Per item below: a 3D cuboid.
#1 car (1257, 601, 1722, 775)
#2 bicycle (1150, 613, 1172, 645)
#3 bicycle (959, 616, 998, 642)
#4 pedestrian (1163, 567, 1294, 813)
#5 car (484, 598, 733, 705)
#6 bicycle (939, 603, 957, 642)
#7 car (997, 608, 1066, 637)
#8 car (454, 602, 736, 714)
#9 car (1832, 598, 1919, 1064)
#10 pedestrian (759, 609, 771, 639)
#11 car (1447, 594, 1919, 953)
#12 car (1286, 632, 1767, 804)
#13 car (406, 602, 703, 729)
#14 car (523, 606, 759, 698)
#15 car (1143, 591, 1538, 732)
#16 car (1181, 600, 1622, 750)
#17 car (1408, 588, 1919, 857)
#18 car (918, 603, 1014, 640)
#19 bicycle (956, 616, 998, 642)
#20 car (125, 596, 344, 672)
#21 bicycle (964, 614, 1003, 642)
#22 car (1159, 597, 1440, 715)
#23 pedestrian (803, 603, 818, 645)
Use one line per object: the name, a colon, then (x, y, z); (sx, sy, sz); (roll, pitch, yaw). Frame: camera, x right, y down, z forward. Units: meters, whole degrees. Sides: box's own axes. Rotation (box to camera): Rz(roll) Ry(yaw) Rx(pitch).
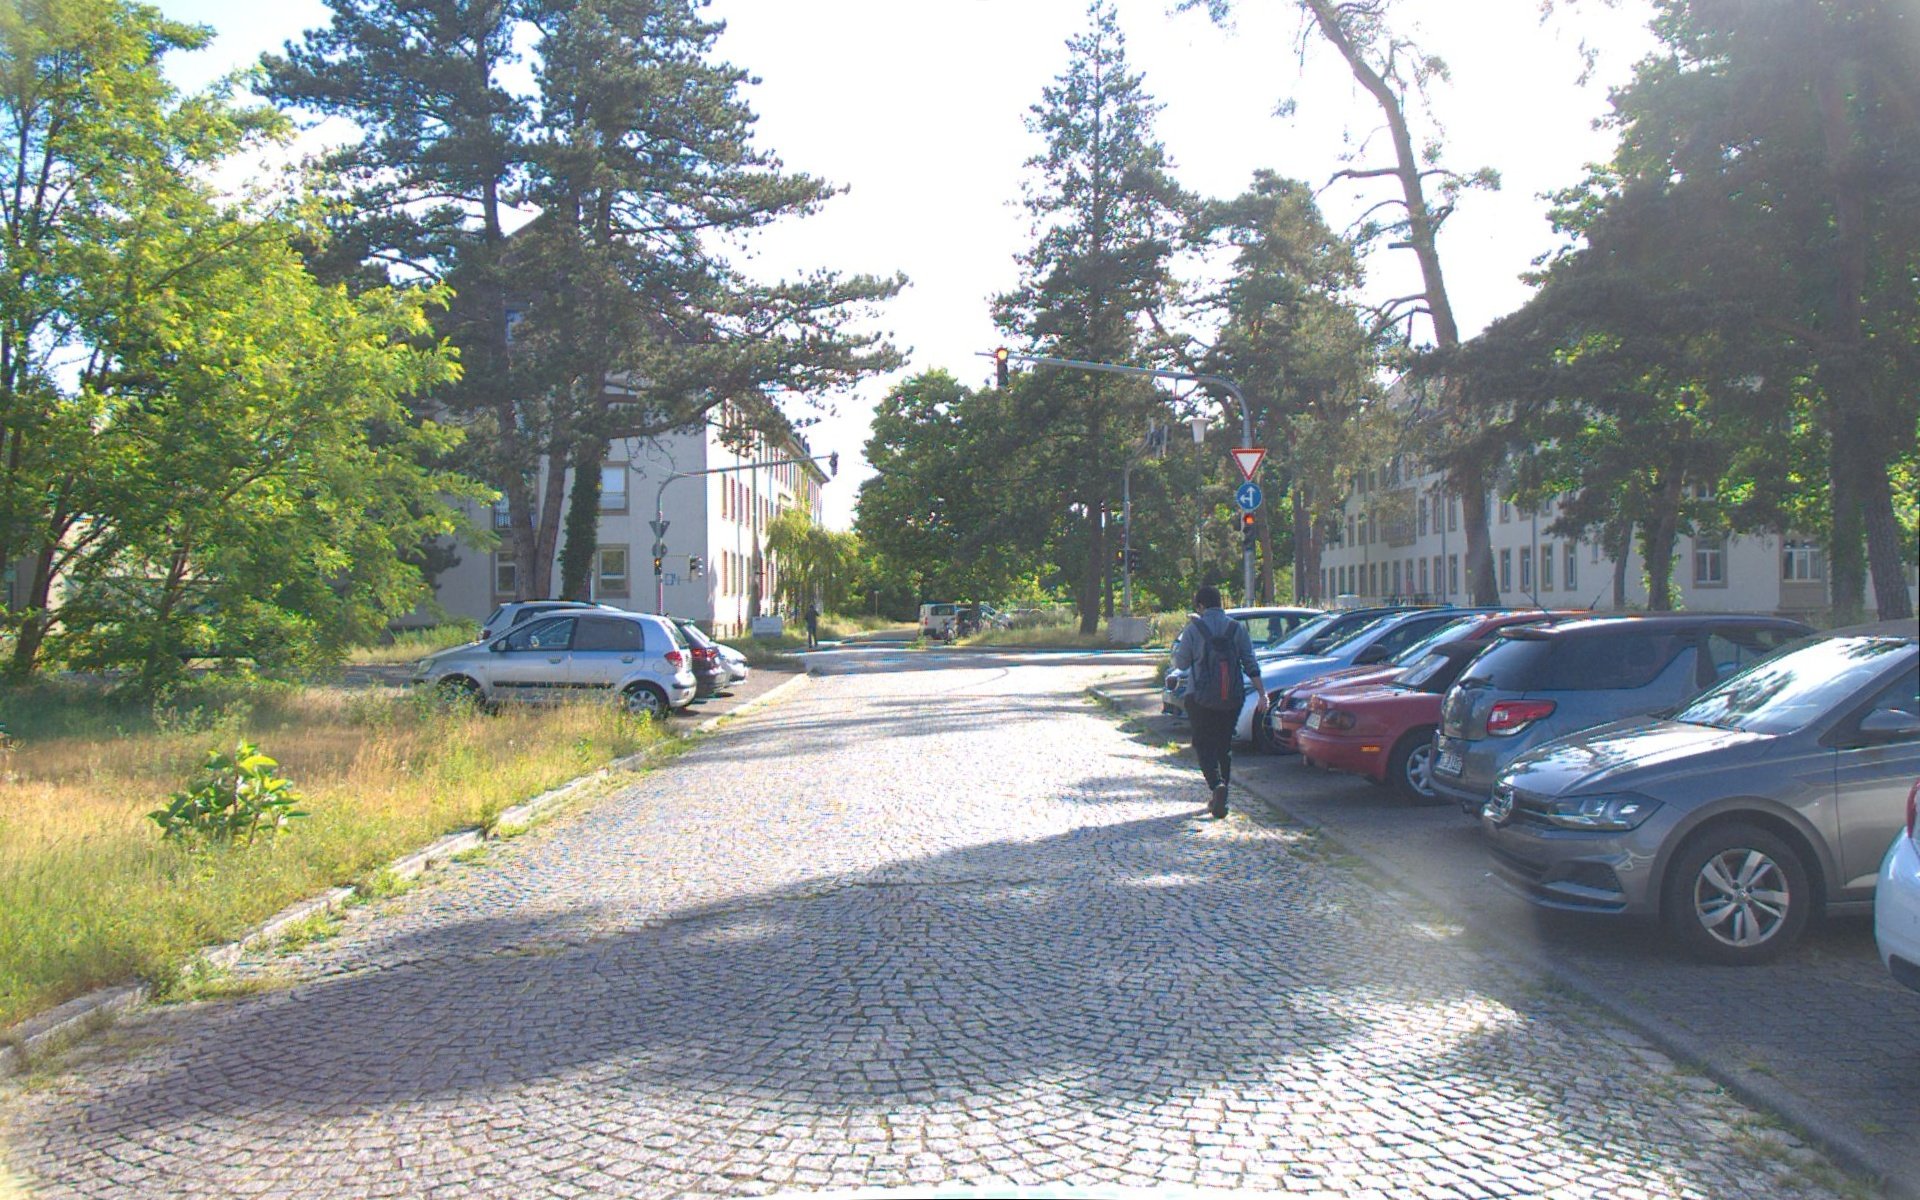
car: (4.968, 0.803, 15.865); (3.899, 1.474, 1.655); (-2, 0, -1)
bicycle: (7.373, 1.036, 60.541); (0.706, 1.134, 2.585); (-1, 0, 9)
bicycle: (0.819, 1.270, 72.888); (1.693, 1.132, 0.483); (-1, -1, -4)
pedestrian: (2.025, 0.664, 12.587); (0.738, 1.755, 0.828); (4, -1, -1)
car: (-5.835, 0.845, 27.811); (3.801, 1.643, 1.660); (2, 0, -2)
bicycle: (-0.509, 0.924, 68.870); (0.738, 1.608, 2.536); (0, 0, -1)
car: (4.045, 1.272, 94.193); (3.673, 1.607, 1.738); (0, 0, -8)
car: (-5.470, 0.856, 25.133); (3.858, 1.470, 1.690); (3, 0, -2)
car: (4.900, 0.721, 5.078); (3.570, 1.518, 1.634); (-1, 0, 0)
pedestrian: (-10.164, 1.247, 86.142); (0.595, 1.587, 0.544); (0, -1, -7)
car: (4.477, 0.725, 8.003); (3.703, 1.476, 1.758); (-2, 0, 1)
car: (4.505, 0.920, 13.468); (3.390, 1.264, 1.536); (0, 0, 0)
car: (-5.424, 0.861, 22.469); (3.612, 1.554, 1.698); (2, -1, -3)
car: (-5.829, 0.940, 30.544); (3.903, 1.522, 1.773); (2, 0, 4)
car: (4.760, 0.748, 21.095); (4.528, 1.481, 1.869); (-3, 0, -3)
car: (4.734, 0.784, 18.146); (4.310, 1.413, 1.788); (-2, 0, -2)
car: (4.971, 0.730, 10.802); (3.589, 1.480, 1.666); (-2, 0, -1)
car: (0.293, 1.155, 90.237); (4.975, 1.952, 1.995); (-1, 0, -10)
bicycle: (0.759, 1.267, 72.342); (1.798, 1.132, 0.495); (-1, -1, -4)
car: (-16.426, 0.758, 37.577); (4.059, 1.637, 2.010); (-1, 0, 0)
bicycle: (1.043, 1.236, 73.573); (1.693, 1.185, 0.560); (-1, -1, -4)
car: (4.748, 0.768, 23.460); (3.598, 1.468, 1.665); (-2, 0, -1)
pedestrian: (-6.347, 1.001, 70.281); (0.594, 1.783, 0.630); (0, -1, -1)
